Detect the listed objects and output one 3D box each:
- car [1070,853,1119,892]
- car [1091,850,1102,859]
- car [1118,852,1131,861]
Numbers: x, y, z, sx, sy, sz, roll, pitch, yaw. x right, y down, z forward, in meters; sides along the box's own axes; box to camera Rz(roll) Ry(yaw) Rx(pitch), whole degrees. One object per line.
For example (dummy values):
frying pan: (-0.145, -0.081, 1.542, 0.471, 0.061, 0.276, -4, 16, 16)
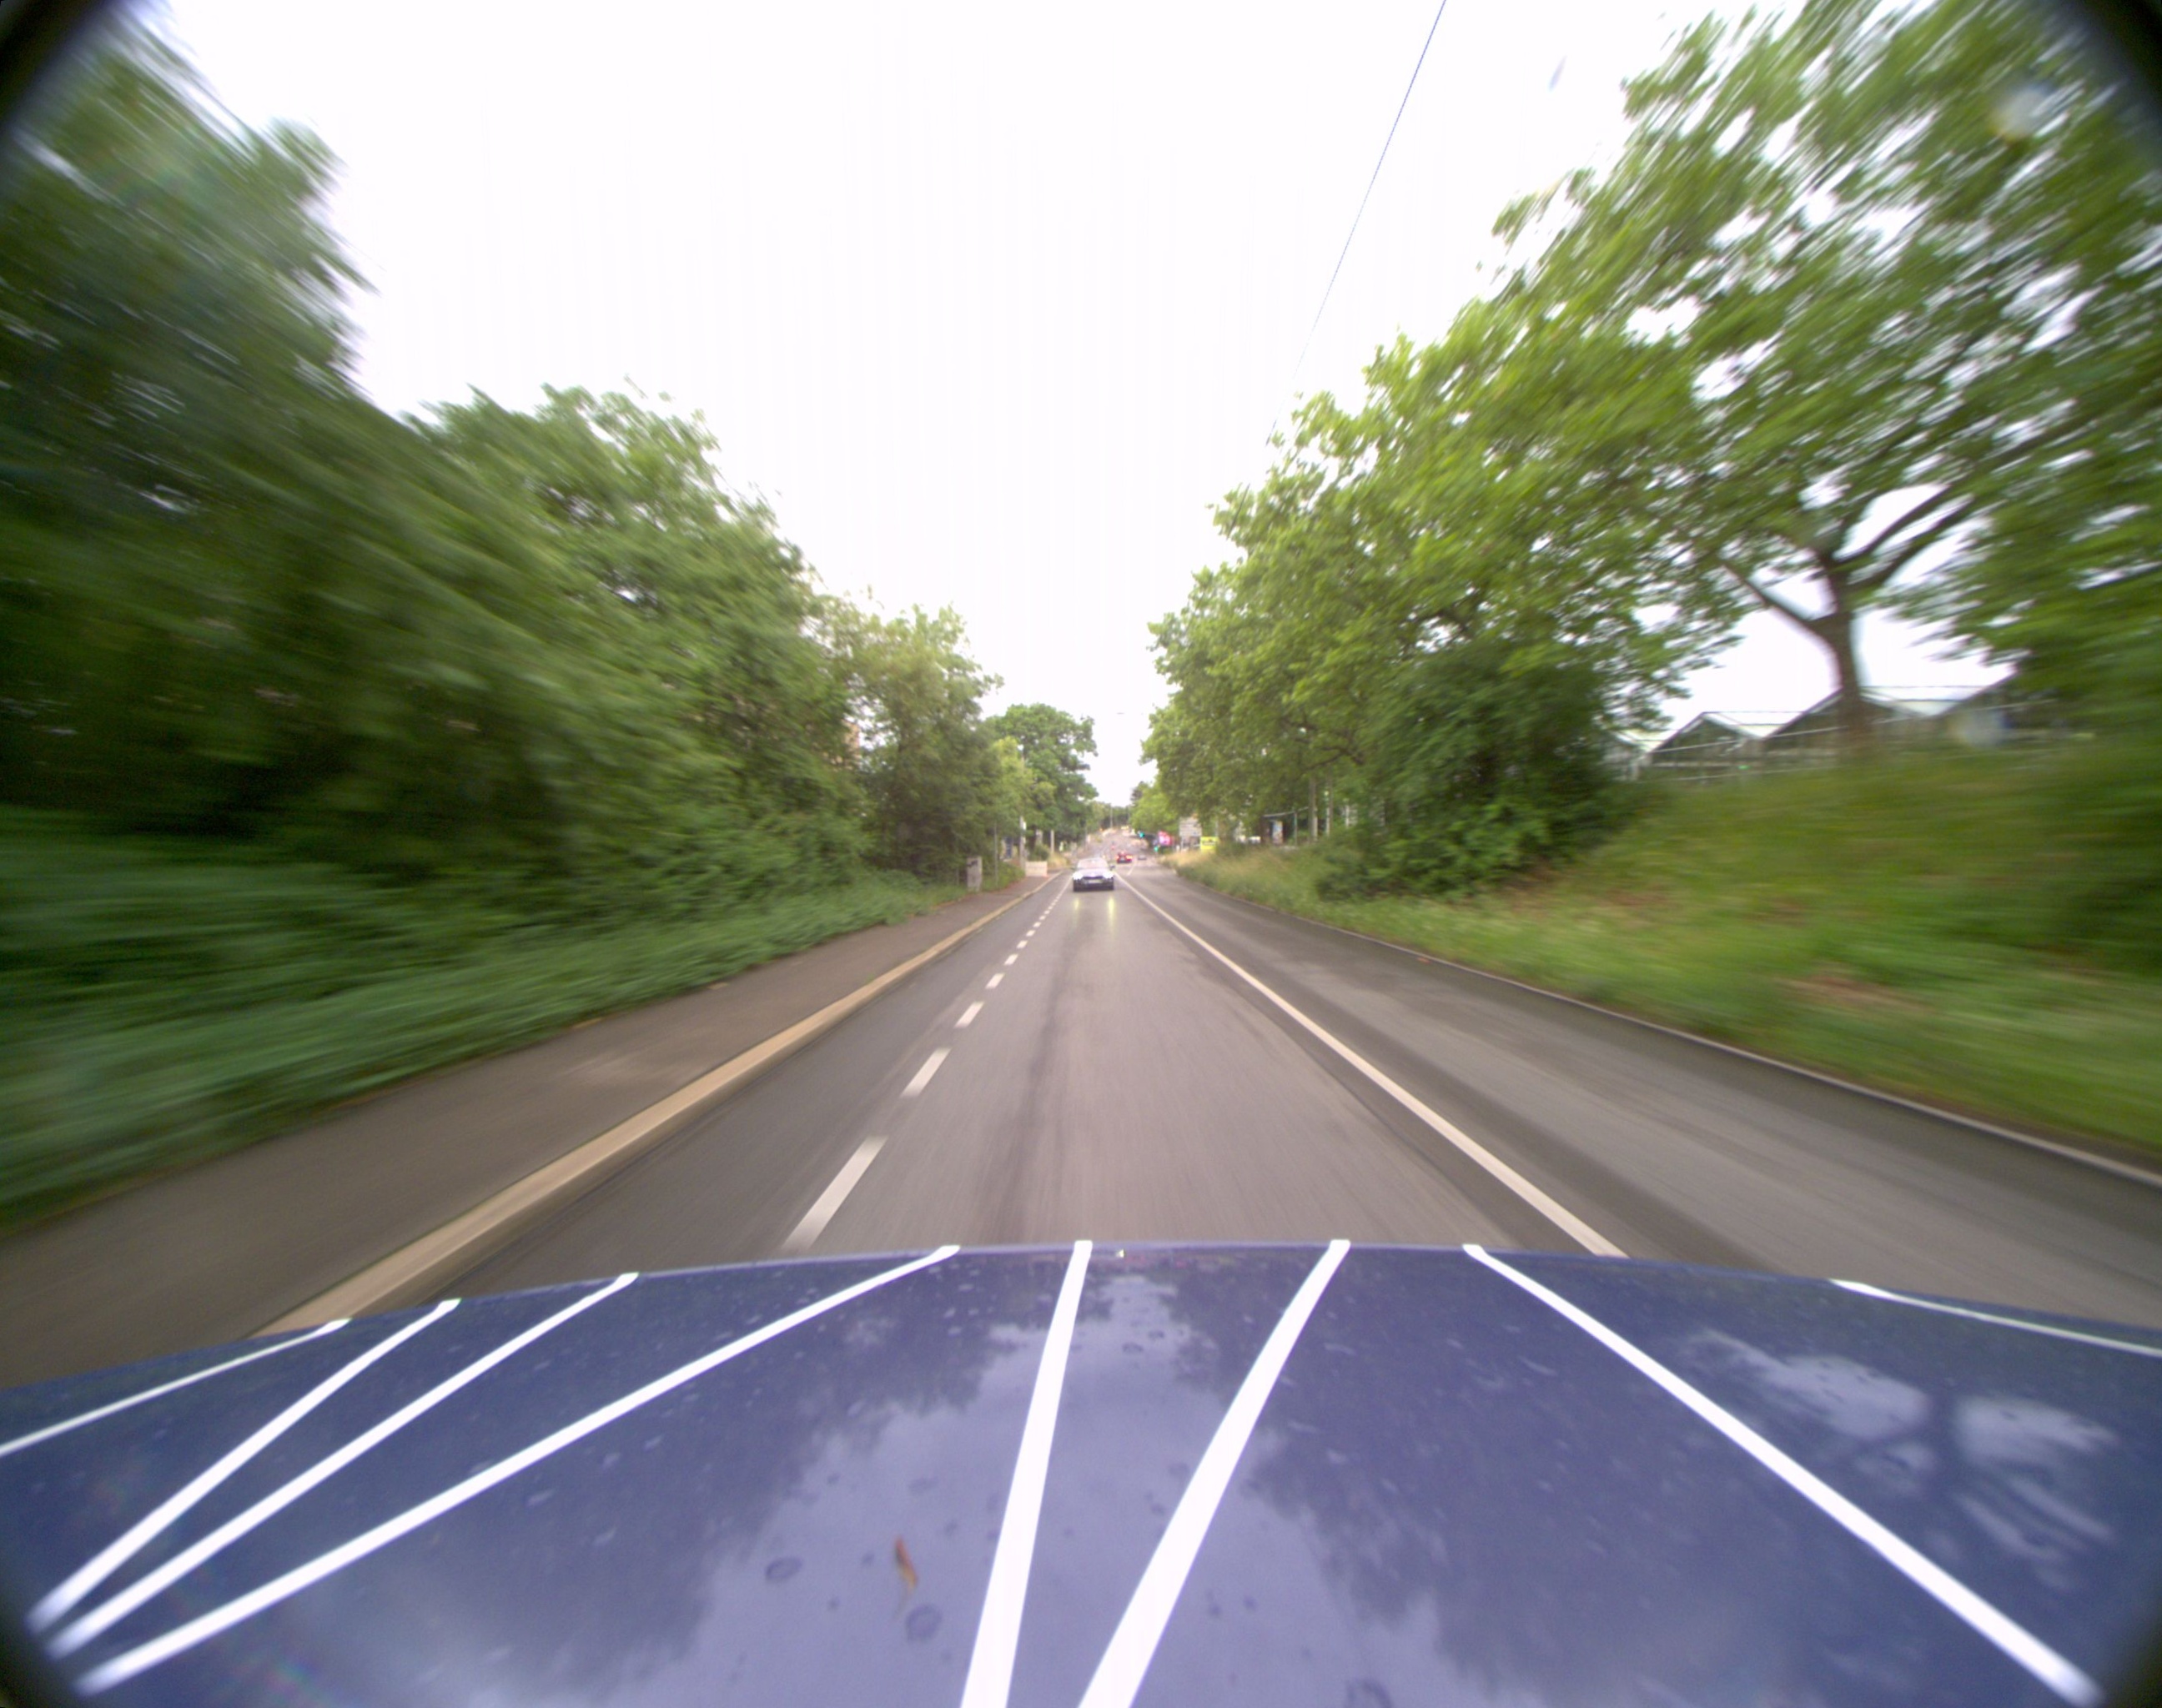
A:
car: (0.583, 0.784, 34.063, 1.981, 1.497, 3.999, -2, 1, 0)
car: (2.802, 0.100, 137.607, 1.981, 1.497, 3.999, -2, 1, 0)
car: (7.172, 0.400, 125.428, 1.981, 1.497, 3.999, -2, 1, 0)
